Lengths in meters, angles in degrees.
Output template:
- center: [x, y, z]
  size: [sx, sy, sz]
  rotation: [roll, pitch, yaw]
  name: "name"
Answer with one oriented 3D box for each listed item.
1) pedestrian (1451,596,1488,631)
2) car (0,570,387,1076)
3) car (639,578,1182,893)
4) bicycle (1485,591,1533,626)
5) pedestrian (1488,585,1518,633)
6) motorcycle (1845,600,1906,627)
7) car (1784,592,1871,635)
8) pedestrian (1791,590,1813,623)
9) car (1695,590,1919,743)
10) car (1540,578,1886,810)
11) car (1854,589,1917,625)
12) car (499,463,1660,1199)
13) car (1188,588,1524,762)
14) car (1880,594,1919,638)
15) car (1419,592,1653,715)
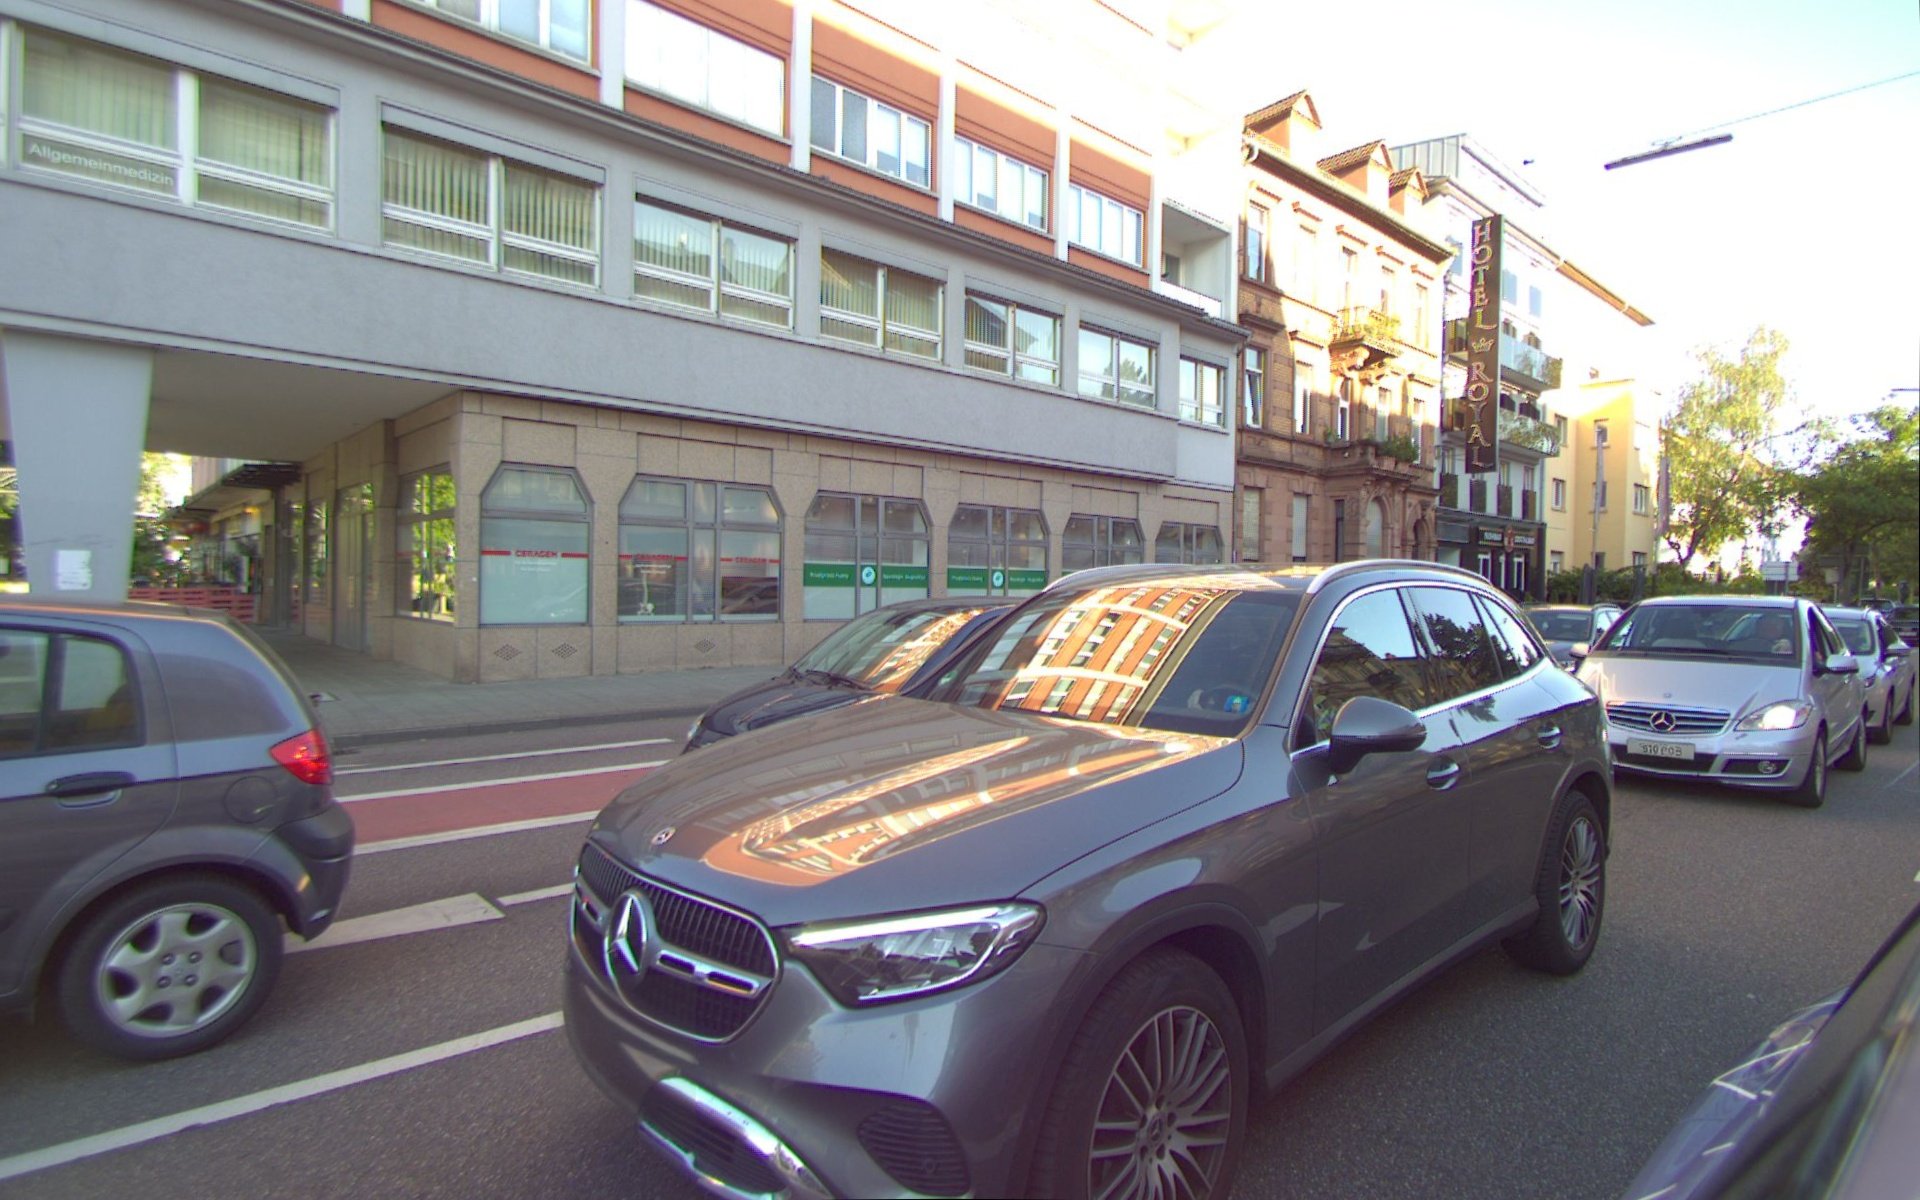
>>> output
- center: [16.004, 0.405, 31.804]
  size: [0.927, 1.056, 0.692]
  rotation: [0, 1, -39]
  name: "pedestrian"
- center: [-3.896, 0.646, 3.002]
  size: [3.585, 1.465, 1.587]
  rotation: [0, 0, -42]
  name: "car"
- center: [-0.162, 0.648, 6.671]
  size: [3.420, 1.524, 1.491]
  rotation: [0, 1, -43]
  name: "car"
- center: [19.320, 0.303, 35.639]
  size: [1.415, 1.124, 0.483]
  rotation: [5, 2, 32]
  name: "bicycle"
- center: [19.111, 0.316, 35.619]
  size: [0.681, 1.664, 0.708]
  rotation: [1, 1, -42]
  name: "pedestrian"
- center: [40.574, 0.586, 44.864]
  size: [1.921, 1.084, 0.809]
  rotation: [2, 1, 37]
  name: "motorcycle"
- center: [34.594, 0.514, 40.299]
  size: [4.749, 1.531, 1.860]
  rotation: [0, 3, -40]
  name: "car"
- center: [42.850, 0.319, 51.497]
  size: [0.570, 1.636, 0.747]
  rotation: [0, 1, -43]
  name: "pedestrian"
- center: [10.475, 0.665, 12.250]
  size: [4.235, 1.529, 1.710]
  rotation: [0, 0, -42]
  name: "car"
- center: [6.703, 0.637, 8.880]
  size: [3.557, 1.588, 1.806]
  rotation: [0, 1, -43]
  name: "car"
- center: [46.418, 0.322, 50.706]
  size: [4.715, 1.675, 1.950]
  rotation: [0, 1, -43]
  name: "car"
- center: [0.912, 0.596, 3.707]
  size: [4.402, 1.653, 1.786]
  rotation: [0, 1, -43]
  name: "car"
- center: [4.350, 0.645, 10.792]
  size: [4.166, 1.503, 1.653]
  rotation: [0, 0, -42]
  name: "car"
- center: [35.570, 0.565, 37.443]
  size: [3.933, 1.553, 1.996]
  rotation: [0, 1, -43]
  name: "car"
- center: [8.354, 0.659, 14.536]
  size: [4.087, 1.475, 1.710]
  rotation: [0, 1, -42]
  name: "car"
